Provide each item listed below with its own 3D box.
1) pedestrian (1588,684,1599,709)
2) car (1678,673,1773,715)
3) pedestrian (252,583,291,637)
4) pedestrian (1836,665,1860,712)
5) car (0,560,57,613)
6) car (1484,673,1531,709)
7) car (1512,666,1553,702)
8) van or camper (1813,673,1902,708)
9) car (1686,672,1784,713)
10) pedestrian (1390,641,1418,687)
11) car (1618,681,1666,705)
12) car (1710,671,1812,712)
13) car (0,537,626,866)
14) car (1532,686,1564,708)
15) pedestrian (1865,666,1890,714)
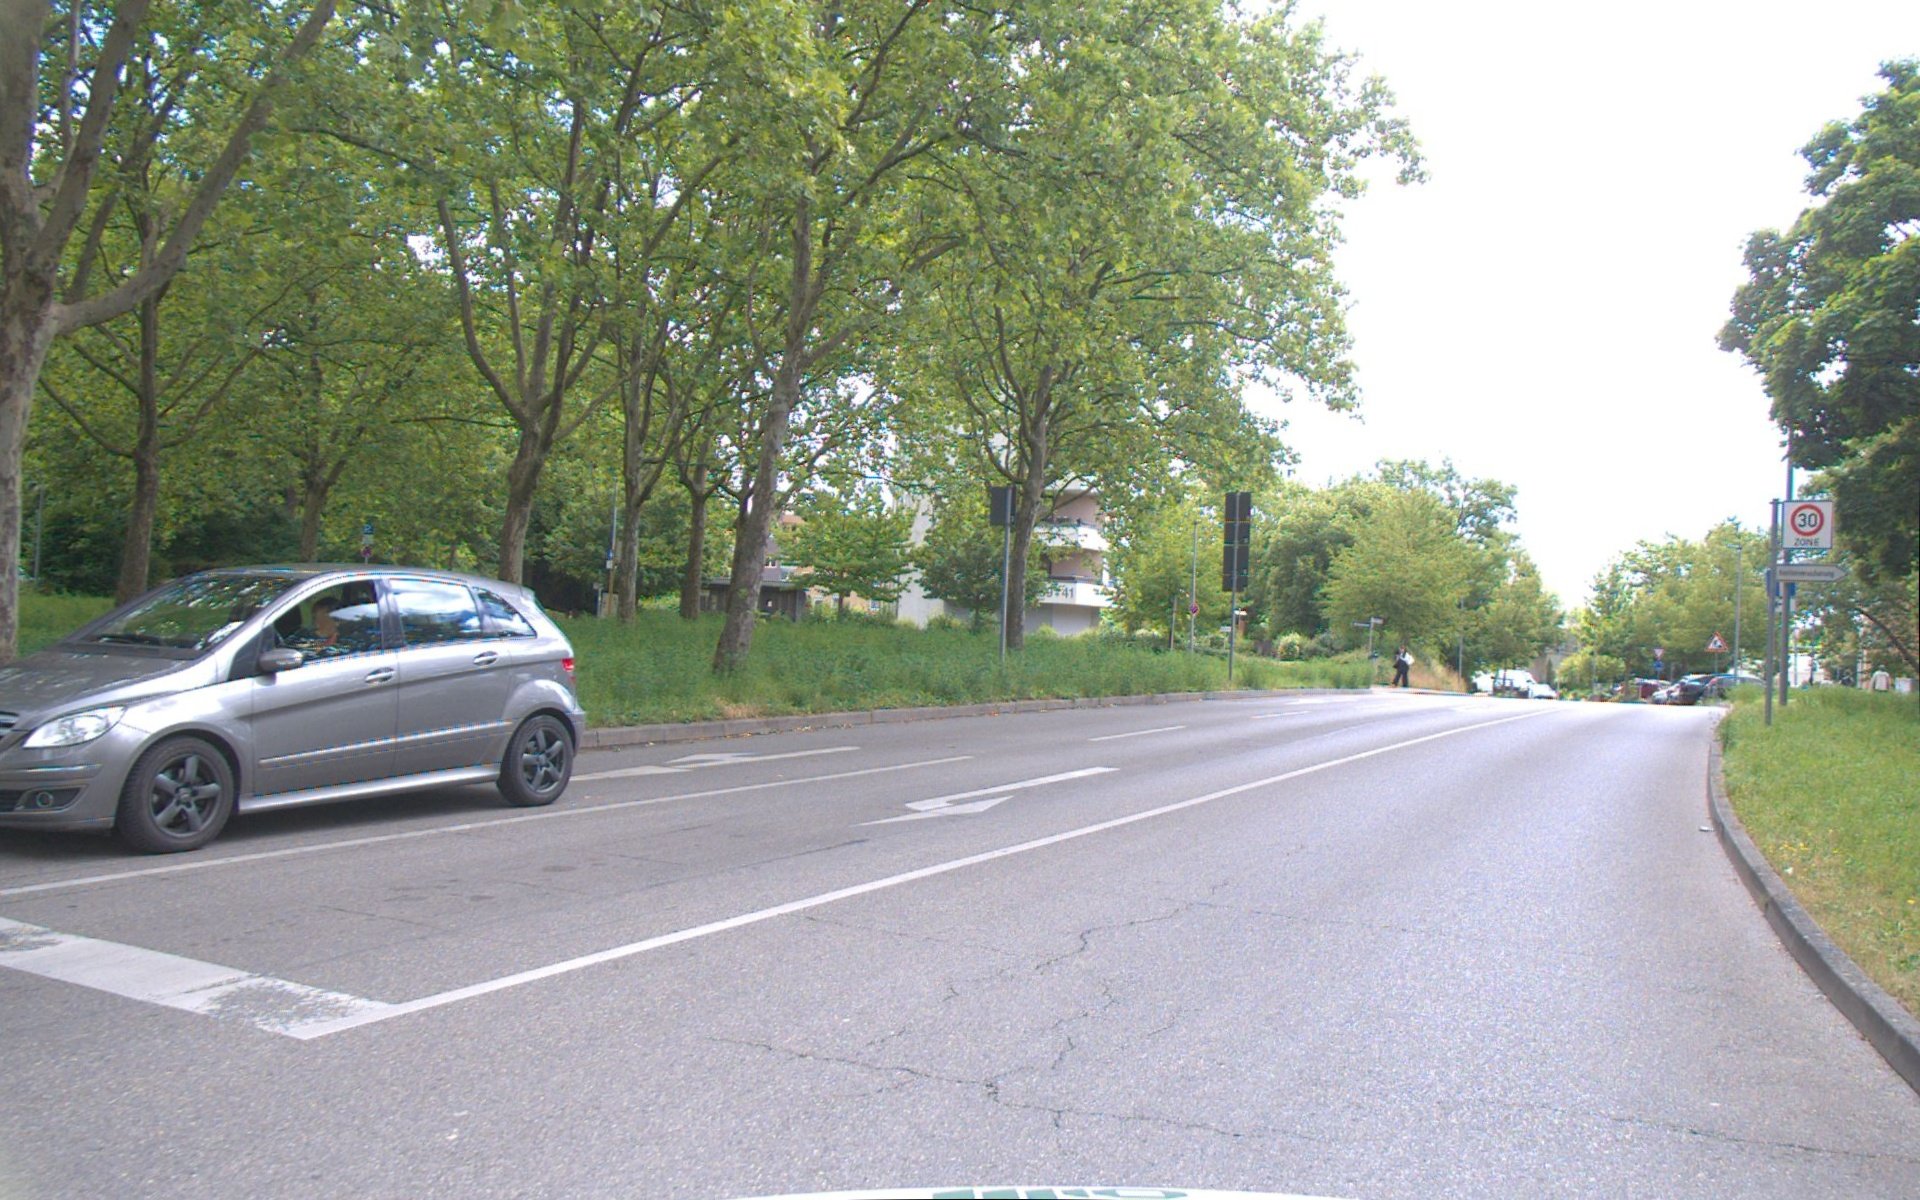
[{"bbox_3d":[48.697,7.404,127.074,0.705,1.897,0.651,1,-1,15],"label":"pedestrian"},{"bbox_3d":[34.848,4.277,75.272,3.845,1.659,1.769,1,-5,27],"label":"car"},{"bbox_3d":[-26.325,0.393,63.236,0.964,1.984,1.083,3,-2,-6],"label":"pedestrian"},{"bbox_3d":[33.891,3.368,63.111,0.760,1.753,0.821,2,-1,30],"label":"pedestrian"},{"bbox_3d":[-28.926,-0.418,48.712,3.654,1.526,1.735,1,-1,3],"label":"car"},{"bbox_3d":[25.355,4.170,76.510,1.730,1.527,3.933,1,-2,23],"label":"car"},{"bbox_3d":[29.910,4.379,86.335,1.730,1.784,3.933,1,-2,23],"label":"car"},{"bbox_3d":[62.113,6.246,114.540,5.185,2.077,2.060,1,-1,22],"label":"van or camper"},{"bbox_3d":[34.019,4.058,72.650,3.845,1.527,1.769,1,-5,27],"label":"car"},{"bbox_3d":[17.593,2.536,65.555,0.804,1.753,0.776,2,0,-4],"label":"pedestrian"},{"bbox_3d":[55.556,7.564,134.729,3.467,1.683,1.622,3,-2,19],"label":"car"},{"bbox_3d":[33.964,3.880,70.182,3.845,1.494,1.769,1,-5,27],"label":"car"},{"bbox_3d":[-4.242,0.521,10.475,1.733,1.614,4.404,1,-1,29],"label":"car"},{"bbox_3d":[42.638,7.009,120.065,1.933,1.489,3.936,1,-3,16],"label":"car"},{"bbox_3d":[34.897,3.400,62.924,0.786,1.753,0.822,2,0,27],"label":"pedestrian"}]
